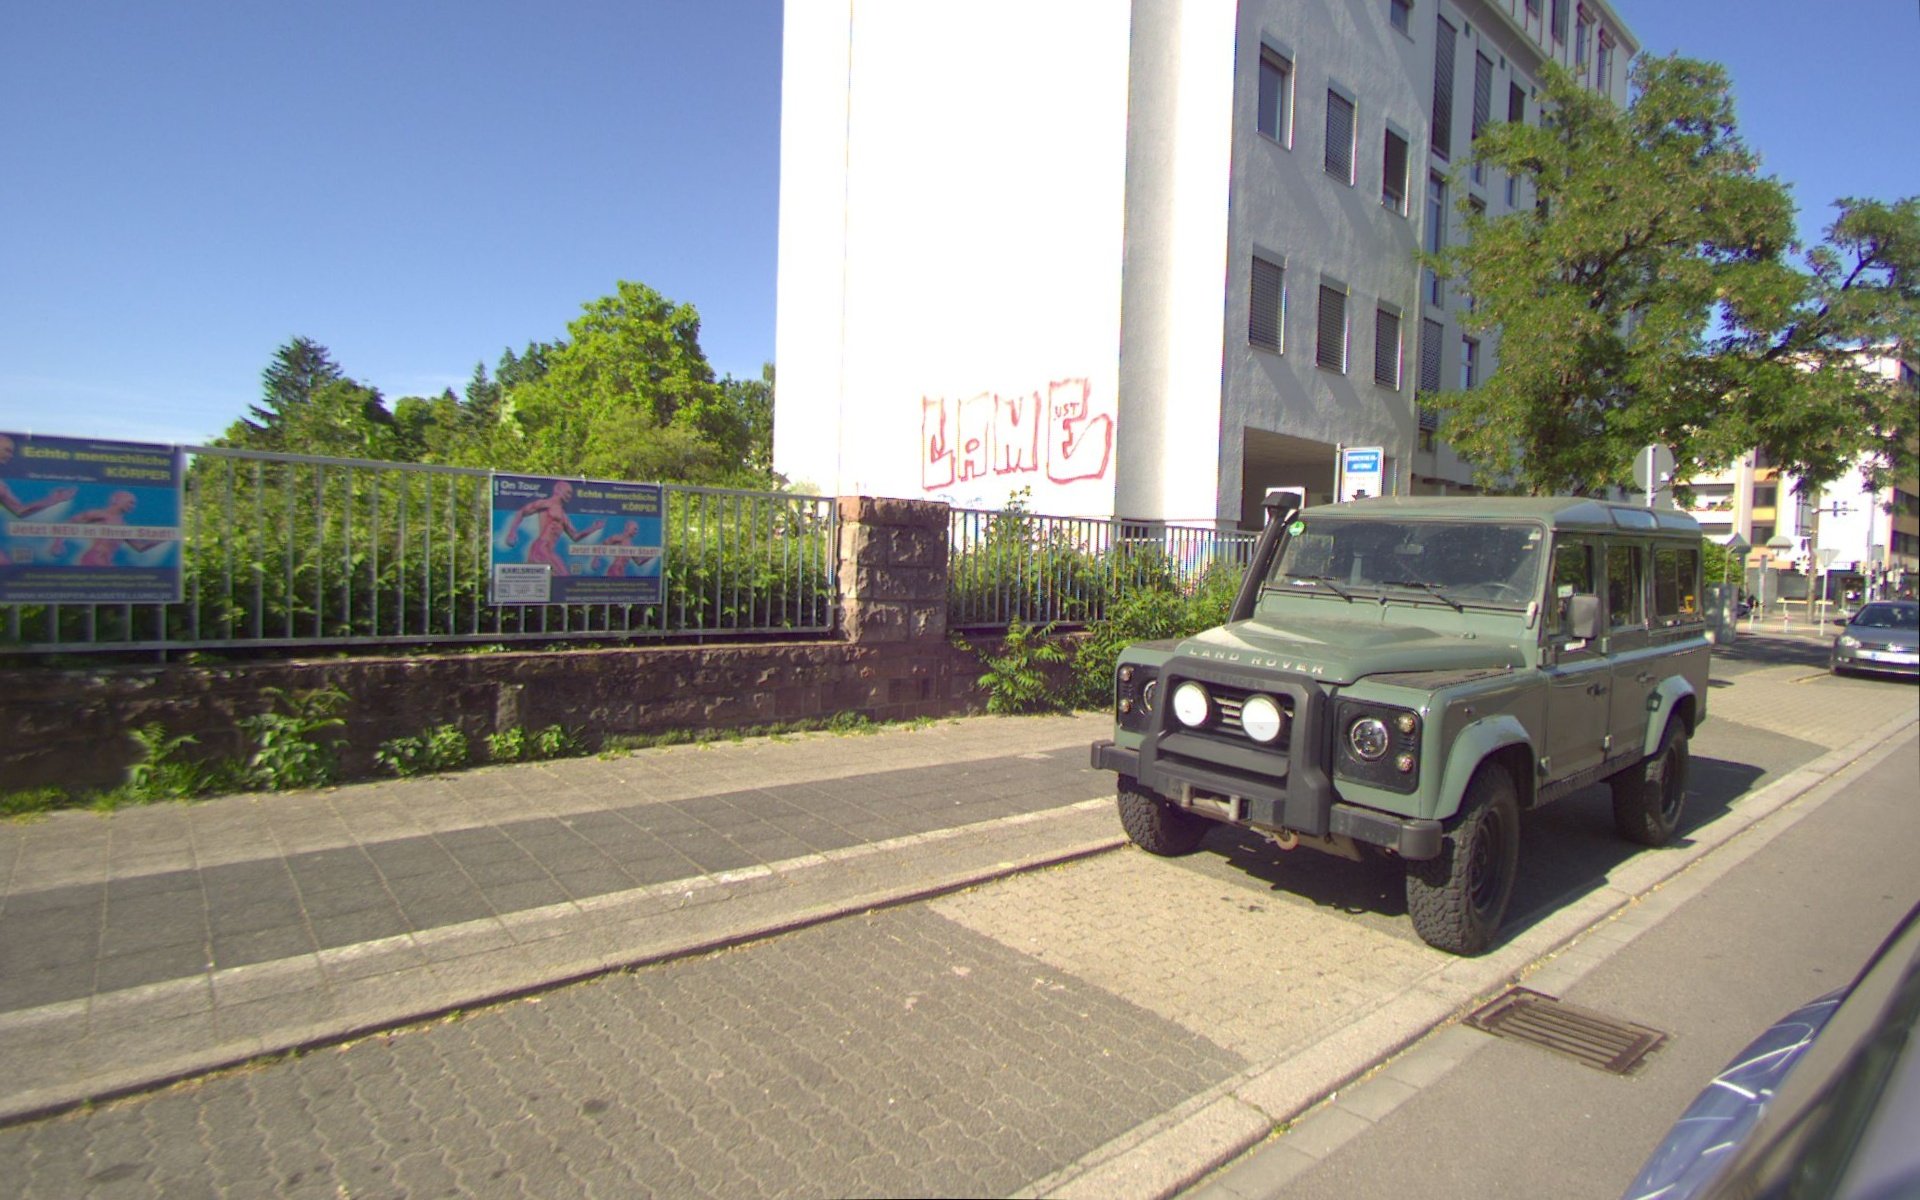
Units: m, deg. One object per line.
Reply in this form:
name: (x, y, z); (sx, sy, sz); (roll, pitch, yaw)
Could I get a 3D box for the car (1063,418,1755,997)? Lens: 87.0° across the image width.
car: (2.831, 0.309, 5.717); (4.693, 2.038, 1.664); (-1, 4, -41)

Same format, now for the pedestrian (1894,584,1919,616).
pedestrian: (52.230, -0.014, 55.740); (0.786, 1.663, 0.981); (-1, 3, 15)

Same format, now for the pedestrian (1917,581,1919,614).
pedestrian: (49.311, -0.116, 51.378); (0.707, 1.642, 0.899); (-3, 3, -30)

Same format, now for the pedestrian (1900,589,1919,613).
pedestrian: (49.114, 0.035, 52.304); (0.516, 1.217, 0.649); (-3, 3, -30)

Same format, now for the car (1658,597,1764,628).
car: (39.225, 0.617, 52.960); (1.848, 1.425, 4.059); (-1, 2, -34)

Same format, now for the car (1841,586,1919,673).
car: (18.186, 0.582, 19.149); (4.081, 1.466, 1.642); (2, 1, -40)

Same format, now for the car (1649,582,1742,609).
car: (47.998, -0.305, 66.149); (4.497, 1.538, 1.871); (2, 0, 22)
